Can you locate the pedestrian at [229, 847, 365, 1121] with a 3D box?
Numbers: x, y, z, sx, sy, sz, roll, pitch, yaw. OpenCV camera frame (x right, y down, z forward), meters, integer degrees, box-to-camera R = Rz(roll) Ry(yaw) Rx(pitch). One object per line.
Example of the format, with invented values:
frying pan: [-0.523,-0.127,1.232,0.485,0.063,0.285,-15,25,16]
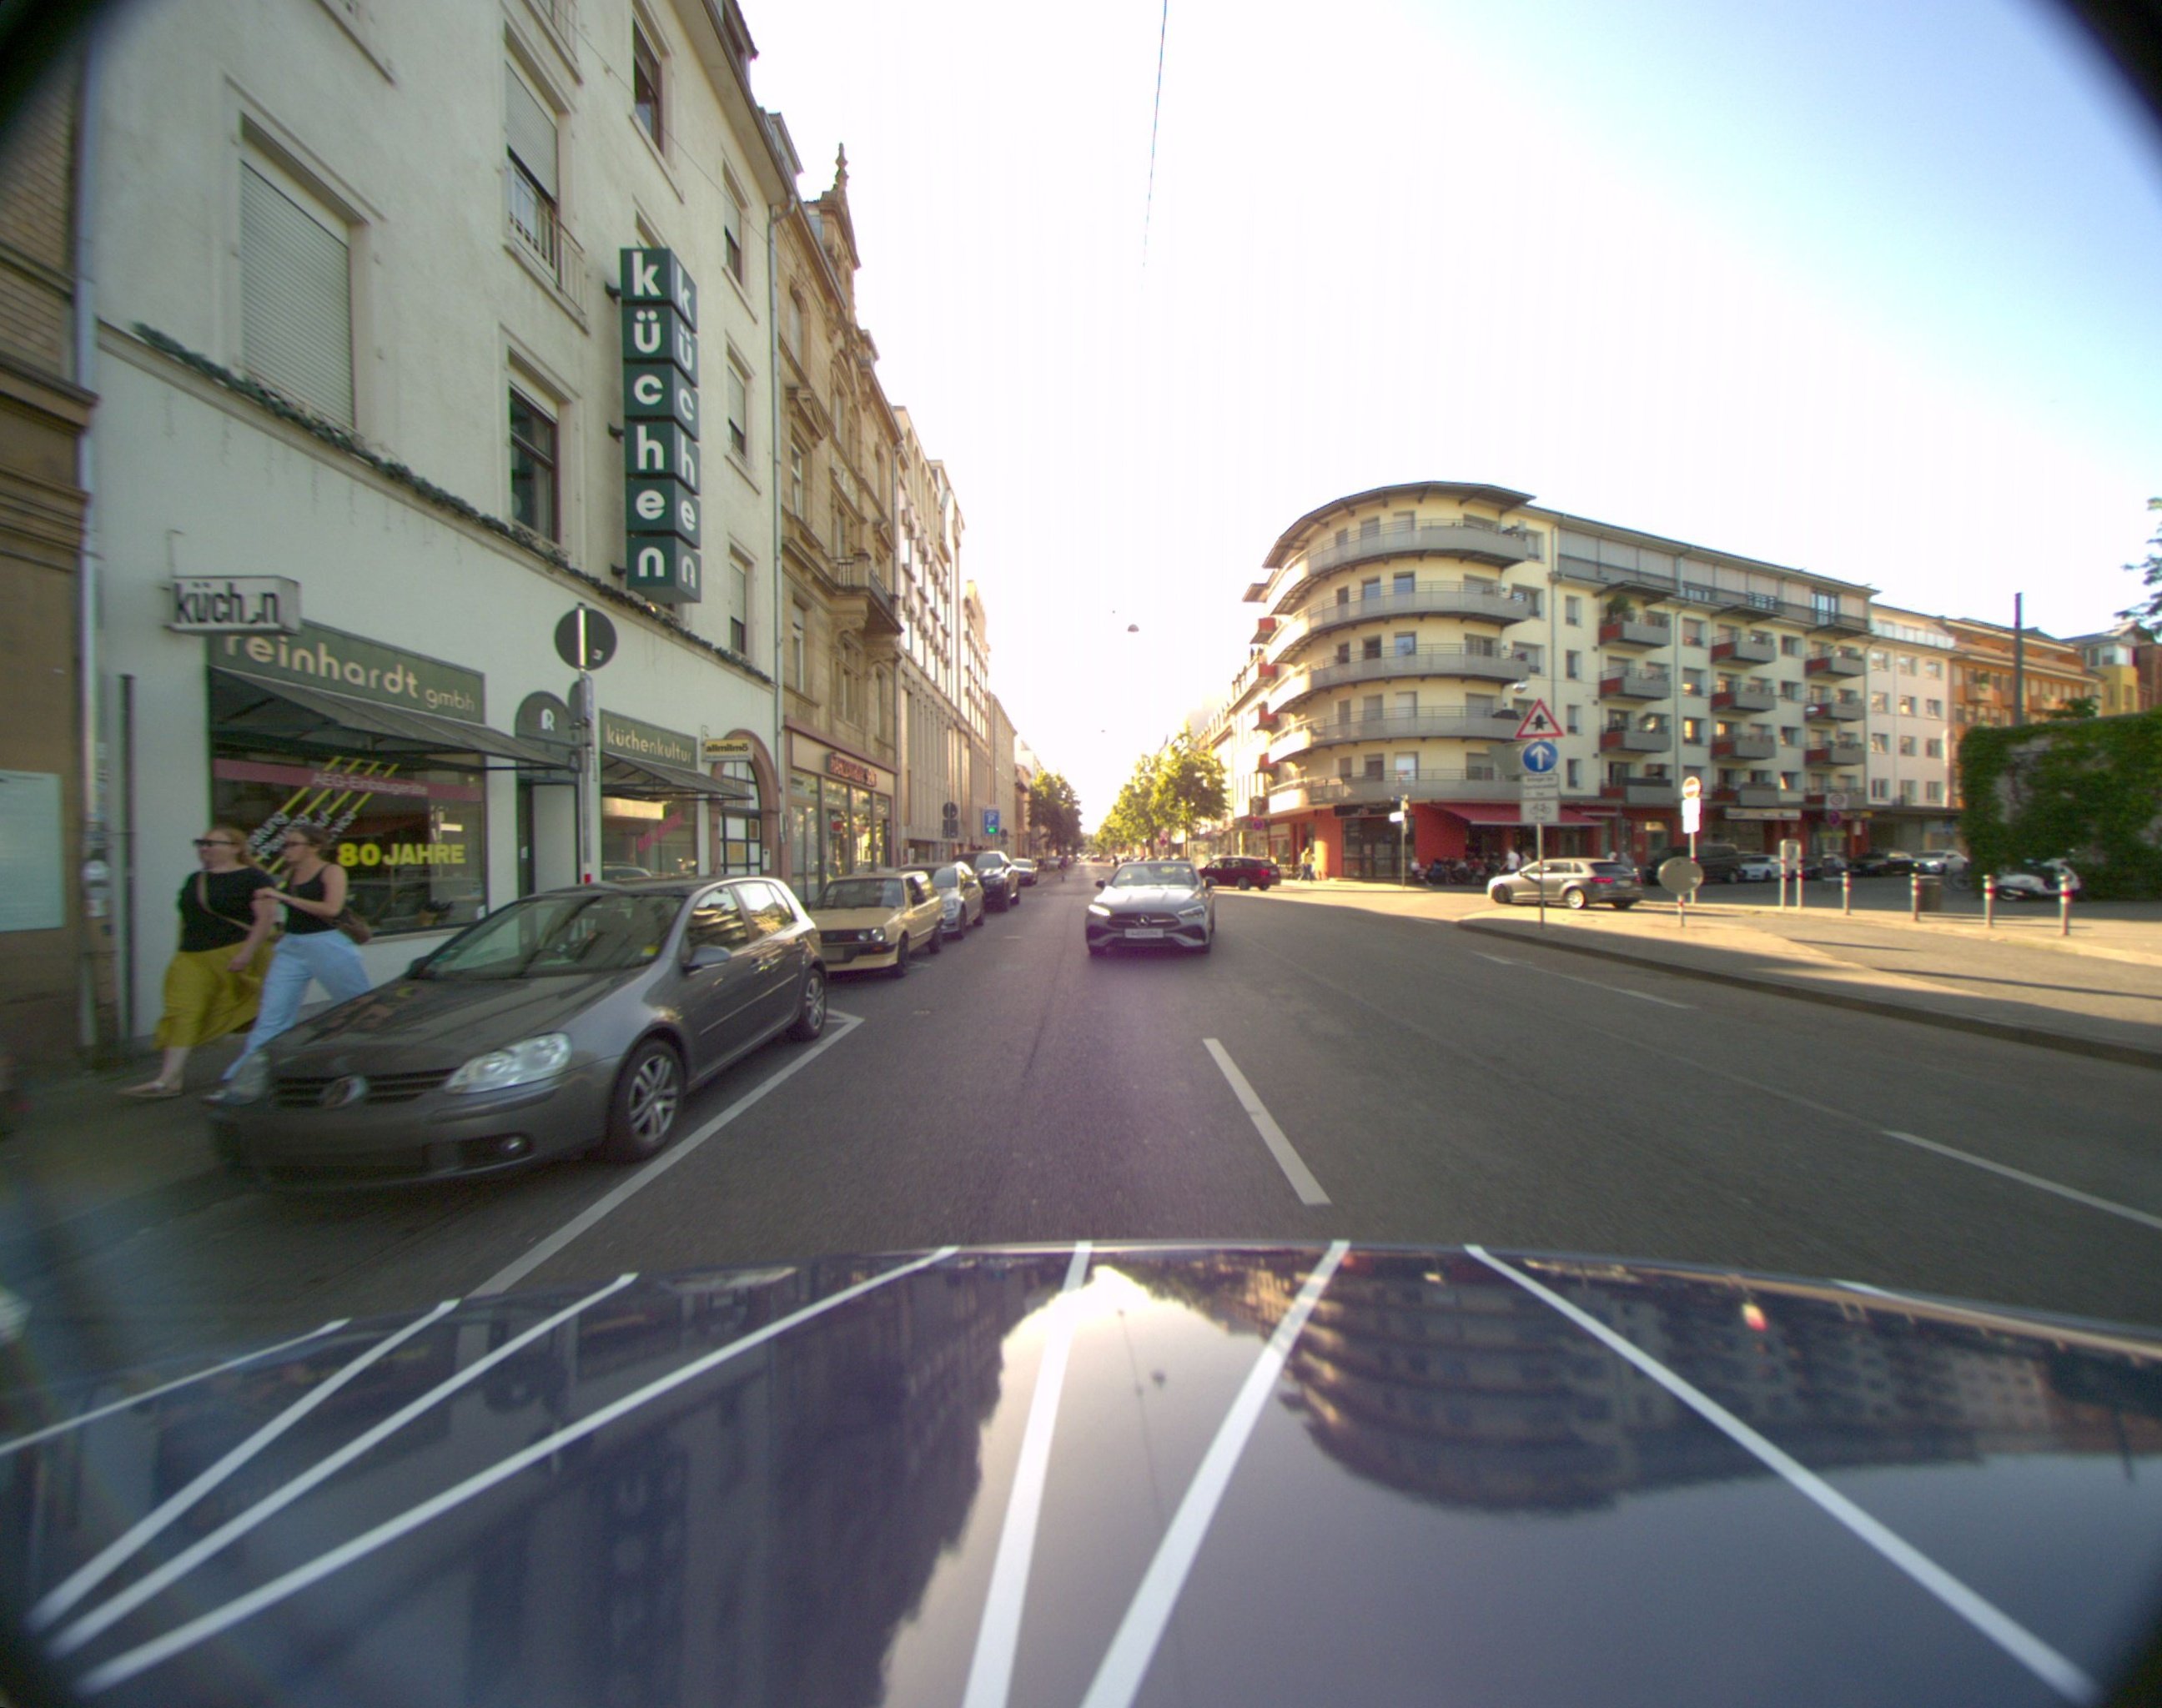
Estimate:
pedestrian: [-4.964,0.779,4.840,0.516,1.623,0.413,-3,1,-41]

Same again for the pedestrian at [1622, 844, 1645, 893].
pedestrian: [20.450,0.526,28.119,0.602,1.782,0.581,-3,2,-44]

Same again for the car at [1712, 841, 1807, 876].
car: [34.532,0.230,38.686,4.300,1.611,1.952,-2,1,-23]

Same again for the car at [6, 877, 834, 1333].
car: [-3.139,0.999,4.933,1.737,1.509,4.164,-2,0,-1]

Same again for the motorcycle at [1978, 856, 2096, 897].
motorcycle: [26.283,0.622,20.936,1.927,1.096,0.682,-2,1,23]

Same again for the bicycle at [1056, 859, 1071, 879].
bicycle: [-1.099,0.950,48.554,0.798,1.226,1.774,-2,0,3]

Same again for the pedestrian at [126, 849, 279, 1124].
pedestrian: [-5.590,0.786,4.863,0.461,1.623,0.620,1,1,43]

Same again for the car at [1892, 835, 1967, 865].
car: [50.215,-0.250,44.977,3.939,1.611,1.788,-2,1,-23]

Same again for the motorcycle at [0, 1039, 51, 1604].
motorcycle: [-3.300,1.145,0.973,2.178,1.272,0.866,-2,1,-41]

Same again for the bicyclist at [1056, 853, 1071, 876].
bicyclist: [-1.110,0.655,48.492,0.798,1.426,1.008,-2,1,2]

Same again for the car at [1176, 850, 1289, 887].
car: [6.348,0.610,32.018,4.244,1.388,1.900,-1,1,39]

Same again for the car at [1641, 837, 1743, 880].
car: [29.349,0.187,36.486,4.431,1.901,1.952,-2,1,-23]

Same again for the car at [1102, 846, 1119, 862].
car: [3.864,-0.063,99.681,1.998,2.002,4.000,-2,1,1]

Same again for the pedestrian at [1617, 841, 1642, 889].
pedestrian: [20.809,0.401,28.819,0.602,1.782,0.581,-3,2,-39]

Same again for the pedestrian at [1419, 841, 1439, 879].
pedestrian: [15.706,0.276,34.304,0.575,1.698,0.642,-2,1,4]

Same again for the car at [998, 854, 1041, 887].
car: [-3.296,0.855,41.420,1.895,1.595,4.049,-2,0,1]

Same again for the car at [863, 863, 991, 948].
car: [-2.981,0.940,15.481,1.737,1.409,3.802,-2,0,1]

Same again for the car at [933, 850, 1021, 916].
car: [-2.915,0.759,22.110,1.895,1.680,4.049,-2,0,1]

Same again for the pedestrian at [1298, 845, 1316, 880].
pedestrian: [10.788,0.402,36.246,0.570,1.612,0.793,-2,1,-2]

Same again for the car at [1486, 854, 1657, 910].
car: [13.862,0.727,21.752,1.808,1.388,3.921,-2,0,-14]

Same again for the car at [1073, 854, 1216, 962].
car: [1.257,0.773,12.773,1.846,1.440,4.377,-2,0,12]

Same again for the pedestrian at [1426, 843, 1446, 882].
pedestrian: [15.685,0.353,33.595,0.575,1.698,0.642,-2,1,4]

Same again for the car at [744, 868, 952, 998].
car: [-3.108,0.979,10.989,1.737,1.409,3.802,-2,0,1]

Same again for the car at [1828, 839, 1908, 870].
car: [44.802,0.045,43.264,3.939,1.611,1.788,-2,1,-21]

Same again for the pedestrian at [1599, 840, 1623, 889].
pedestrian: [19.616,0.381,28.110,0.602,1.782,0.581,-3,2,-44]

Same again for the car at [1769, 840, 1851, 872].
car: [39.702,0.104,41.368,3.939,1.611,1.788,-2,1,-23]
